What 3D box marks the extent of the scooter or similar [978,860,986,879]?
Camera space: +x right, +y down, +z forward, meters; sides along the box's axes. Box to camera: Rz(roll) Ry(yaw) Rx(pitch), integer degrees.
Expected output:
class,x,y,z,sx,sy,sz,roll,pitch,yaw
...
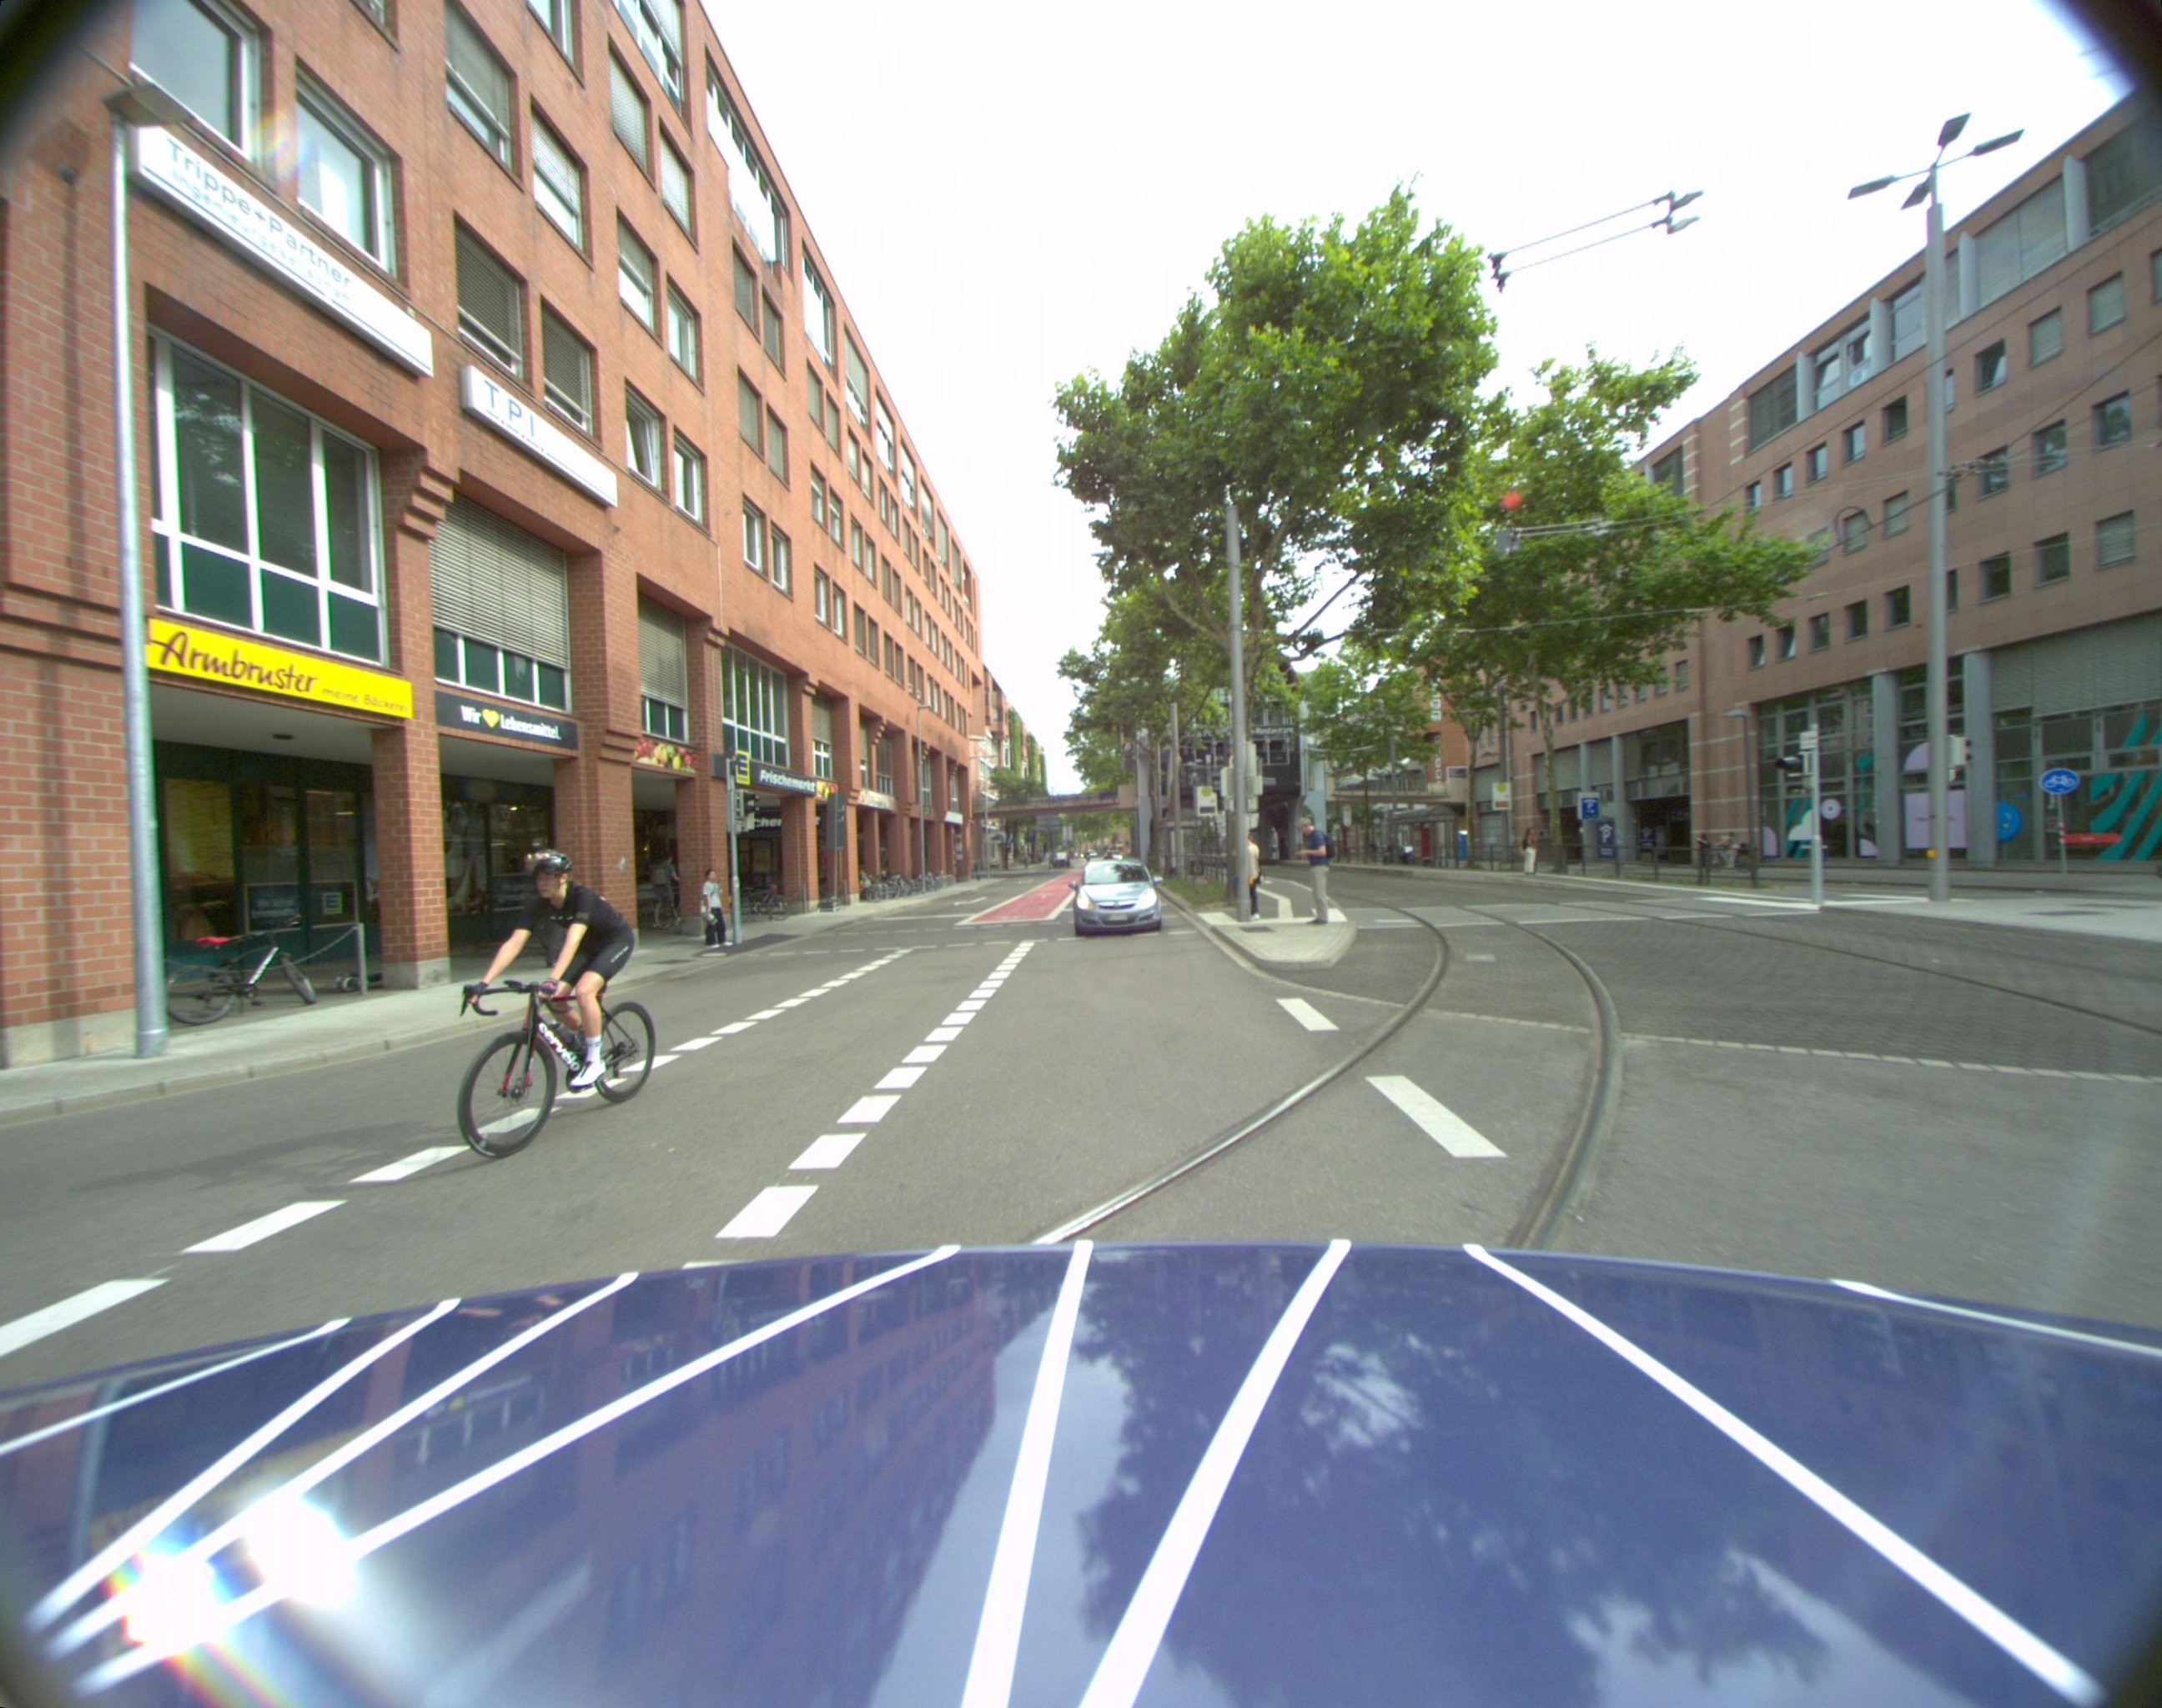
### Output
class,x,y,z,sx,sy,sz,roll,pitch,yaw
scooter or similar,-6.728,1.070,51.676,0.272,1.250,0.921,-2,1,3

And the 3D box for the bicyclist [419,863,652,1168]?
class,x,y,z,sx,sy,sz,roll,pitch,yaw
bicyclist,-3.190,0.888,4.535,0.613,1.594,0.847,-4,2,2

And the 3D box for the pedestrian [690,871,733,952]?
class,x,y,z,sx,sy,sz,roll,pitch,yaw
pedestrian,-7.679,1.175,15.795,0.407,1.623,0.732,0,2,10

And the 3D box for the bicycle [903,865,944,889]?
class,x,y,z,sx,sy,sz,roll,pitch,yaw
bicycle,-7.838,1.133,37.801,1.859,1.134,0.534,-1,2,3

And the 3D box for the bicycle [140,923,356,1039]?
class,x,y,z,sx,sy,sz,roll,pitch,yaw
bicycle,-9.686,1.428,8.943,0.566,1.085,1.699,0,0,6

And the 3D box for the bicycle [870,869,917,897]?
class,x,y,z,sx,sy,sz,roll,pitch,yaw
bicycle,-8.061,1.238,32.659,1.859,1.105,0.534,-1,2,3

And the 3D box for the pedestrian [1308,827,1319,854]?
class,x,y,z,sx,sy,sz,roll,pitch,yaw
pedestrian,15.694,-0.914,51.316,0.482,1.761,0.481,-2,2,-5

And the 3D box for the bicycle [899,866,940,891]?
class,x,y,z,sx,sy,sz,roll,pitch,yaw
bicycle,-7.894,1.202,37.251,1.859,1.134,0.534,-1,2,3

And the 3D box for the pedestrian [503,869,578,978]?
class,x,y,z,sx,sy,sz,roll,pitch,yaw
pedestrian,-8.778,1.113,12.365,0.647,1.687,0.697,-1,2,0

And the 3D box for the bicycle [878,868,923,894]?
class,x,y,z,sx,sy,sz,roll,pitch,yaw
bicycle,-8.123,1.207,34.183,1.859,1.105,0.534,-1,2,3

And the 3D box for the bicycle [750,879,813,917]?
class,x,y,z,sx,sy,sz,roll,pitch,yaw
bicycle,-9.642,1.385,24.516,0.483,1.078,1.868,1,3,42

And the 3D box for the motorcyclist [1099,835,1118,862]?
class,x,y,z,sx,sy,sz,roll,pitch,yaw
motorcyclist,1.542,-0.303,43.244,0.872,1.508,1.043,-2,1,-7

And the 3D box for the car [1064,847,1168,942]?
class,x,y,z,sx,sy,sz,roll,pitch,yaw
car,0.617,0.694,15.174,1.723,1.395,3.998,-4,2,0

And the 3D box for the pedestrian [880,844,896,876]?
class,x,y,z,sx,sy,sz,roll,pitch,yaw
pedestrian,-11.080,0.345,43.651,0.614,1.767,0.780,-2,2,3

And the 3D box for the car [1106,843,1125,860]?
class,x,y,z,sx,sy,sz,roll,pitch,yaw
car,3.697,-0.281,80.502,1.957,1.592,4.000,-2,1,3

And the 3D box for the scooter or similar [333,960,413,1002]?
class,x,y,z,sx,sy,sz,roll,pitch,yaw
scooter or similar,-9.856,1.759,10.602,0.263,0.416,0.891,-2,1,1

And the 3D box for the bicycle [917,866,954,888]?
class,x,y,z,sx,sy,sz,roll,pitch,yaw
bicycle,-7.787,1.227,40.773,1.859,1.134,0.534,-1,2,3

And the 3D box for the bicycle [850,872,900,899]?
class,x,y,z,sx,sy,sz,roll,pitch,yaw
bicycle,-8.283,1.263,30.575,1.859,1.035,0.534,-1,1,3

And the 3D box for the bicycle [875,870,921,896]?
class,x,y,z,sx,sy,sz,roll,pitch,yaw
bicycle,-8.048,1.271,33.424,1.859,1.105,0.534,-1,2,3

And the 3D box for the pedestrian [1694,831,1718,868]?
class,x,y,z,sx,sy,sz,roll,pitch,yaw
pedestrian,26.770,-0.195,32.568,0.529,1.565,0.601,-2,2,3

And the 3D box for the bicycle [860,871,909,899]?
class,x,y,z,sx,sy,sz,roll,pitch,yaw
bicycle,-8.222,1.281,31.813,1.859,1.105,0.534,-1,2,3

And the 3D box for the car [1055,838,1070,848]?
class,x,y,z,sx,sy,sz,roll,pitch,yaw
car,-2.813,-1.734,118.805,1.957,1.592,4.000,-2,1,3

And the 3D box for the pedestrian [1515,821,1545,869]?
class,x,y,z,sx,sy,sz,roll,pitch,yaw
pedestrian,14.836,-0.314,25.087,0.658,1.530,0.558,-2,4,-1

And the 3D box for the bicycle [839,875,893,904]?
class,x,y,z,sx,sy,sz,roll,pitch,yaw
bicycle,-8.253,1.349,29.203,1.859,1.035,0.534,-1,1,3

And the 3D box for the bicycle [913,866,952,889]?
class,x,y,z,sx,sy,sz,roll,pitch,yaw
bicycle,-7.717,1.197,39.518,1.859,1.134,0.534,-1,2,3

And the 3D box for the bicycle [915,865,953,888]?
class,x,y,z,sx,sy,sz,roll,pitch,yaw
bicycle,-7.762,1.191,40.051,1.859,1.134,0.534,-1,2,3

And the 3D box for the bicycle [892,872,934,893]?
class,x,y,z,sx,sy,sz,roll,pitch,yaw
bicycle,-7.993,1.351,36.111,1.859,0.888,0.534,-1,1,3

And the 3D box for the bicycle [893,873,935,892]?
class,x,y,z,sx,sy,sz,roll,pitch,yaw
bicycle,-8.083,1.378,36.751,1.859,0.865,0.534,-1,1,3

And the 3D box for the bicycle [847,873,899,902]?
class,x,y,z,sx,sy,sz,roll,pitch,yaw
bicycle,-8.174,1.311,29.887,1.859,1.035,0.534,-1,1,3

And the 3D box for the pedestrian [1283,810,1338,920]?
class,x,y,z,sx,sy,sz,roll,pitch,yaw
pedestrian,4.025,0.185,13.370,0.693,1.864,0.807,-2,2,3

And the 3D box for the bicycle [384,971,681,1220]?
class,x,y,z,sx,sy,sz,roll,pitch,yaw
bicycle,-3.165,1.324,4.622,0.488,0.994,1.748,-1,-1,2

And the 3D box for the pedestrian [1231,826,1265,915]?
class,x,y,z,sx,sy,sz,roll,pitch,yaw
pedestrian,3.417,0.338,15.557,0.534,1.781,0.578,-2,2,23

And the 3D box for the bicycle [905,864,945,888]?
class,x,y,z,sx,sy,sz,roll,pitch,yaw
bicycle,-7.861,1.099,38.352,1.859,1.134,0.534,-1,2,3

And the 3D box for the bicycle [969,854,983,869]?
class,x,y,z,sx,sy,sz,roll,pitch,yaw
bicycle,-9.921,0.685,72.113,0.746,1.382,2.980,-2,1,3

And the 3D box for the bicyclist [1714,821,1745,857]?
class,x,y,z,sx,sy,sz,roll,pitch,yaw
bicyclist,25.711,-0.600,30.117,0.552,1.373,0.737,-2,2,-9

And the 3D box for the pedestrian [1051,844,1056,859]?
class,x,y,z,sx,sy,sz,roll,pitch,yaw
pedestrian,-3.052,-0.305,84.176,0.516,1.645,0.612,-2,2,3

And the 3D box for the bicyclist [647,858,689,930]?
class,x,y,z,sx,sy,sz,roll,pitch,yaw
bicyclist,-10.534,1.006,19.378,0.619,1.770,0.767,3,3,42

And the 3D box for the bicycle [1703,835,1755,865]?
class,x,y,z,sx,sy,sz,roll,pitch,yaw
bicycle,25.720,-0.169,30.171,0.547,1.111,1.588,-2,1,-10

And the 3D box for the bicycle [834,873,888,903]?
class,x,y,z,sx,sy,sz,roll,pitch,yaw
bicycle,-8.265,1.262,28.556,1.859,1.035,0.507,-2,1,3

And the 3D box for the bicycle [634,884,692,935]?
class,x,y,z,sx,sy,sz,roll,pitch,yaw
bicycle,-10.445,1.355,19.044,0.630,1.078,1.748,2,2,-6

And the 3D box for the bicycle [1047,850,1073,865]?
class,x,y,z,sx,sy,sz,roll,pitch,yaw
bicycle,-2.141,0.363,77.971,2.583,1.430,0.769,-2,2,4

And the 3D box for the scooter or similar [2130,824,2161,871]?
class,x,y,z,sx,sy,sz,roll,pitch,yaw
scooter or similar,26.567,-0.166,18.503,0.520,1.127,1.112,-2,1,3

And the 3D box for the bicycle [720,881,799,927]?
class,x,y,z,sx,sy,sz,roll,pitch,yaw
bicycle,-8.708,1.343,20.625,0.628,1.078,1.868,1,2,42

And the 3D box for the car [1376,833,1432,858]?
class,x,y,z,sx,sy,sz,roll,pitch,yaw
car,20.851,-0.544,49.228,1.867,1.464,4.296,-2,0,2
